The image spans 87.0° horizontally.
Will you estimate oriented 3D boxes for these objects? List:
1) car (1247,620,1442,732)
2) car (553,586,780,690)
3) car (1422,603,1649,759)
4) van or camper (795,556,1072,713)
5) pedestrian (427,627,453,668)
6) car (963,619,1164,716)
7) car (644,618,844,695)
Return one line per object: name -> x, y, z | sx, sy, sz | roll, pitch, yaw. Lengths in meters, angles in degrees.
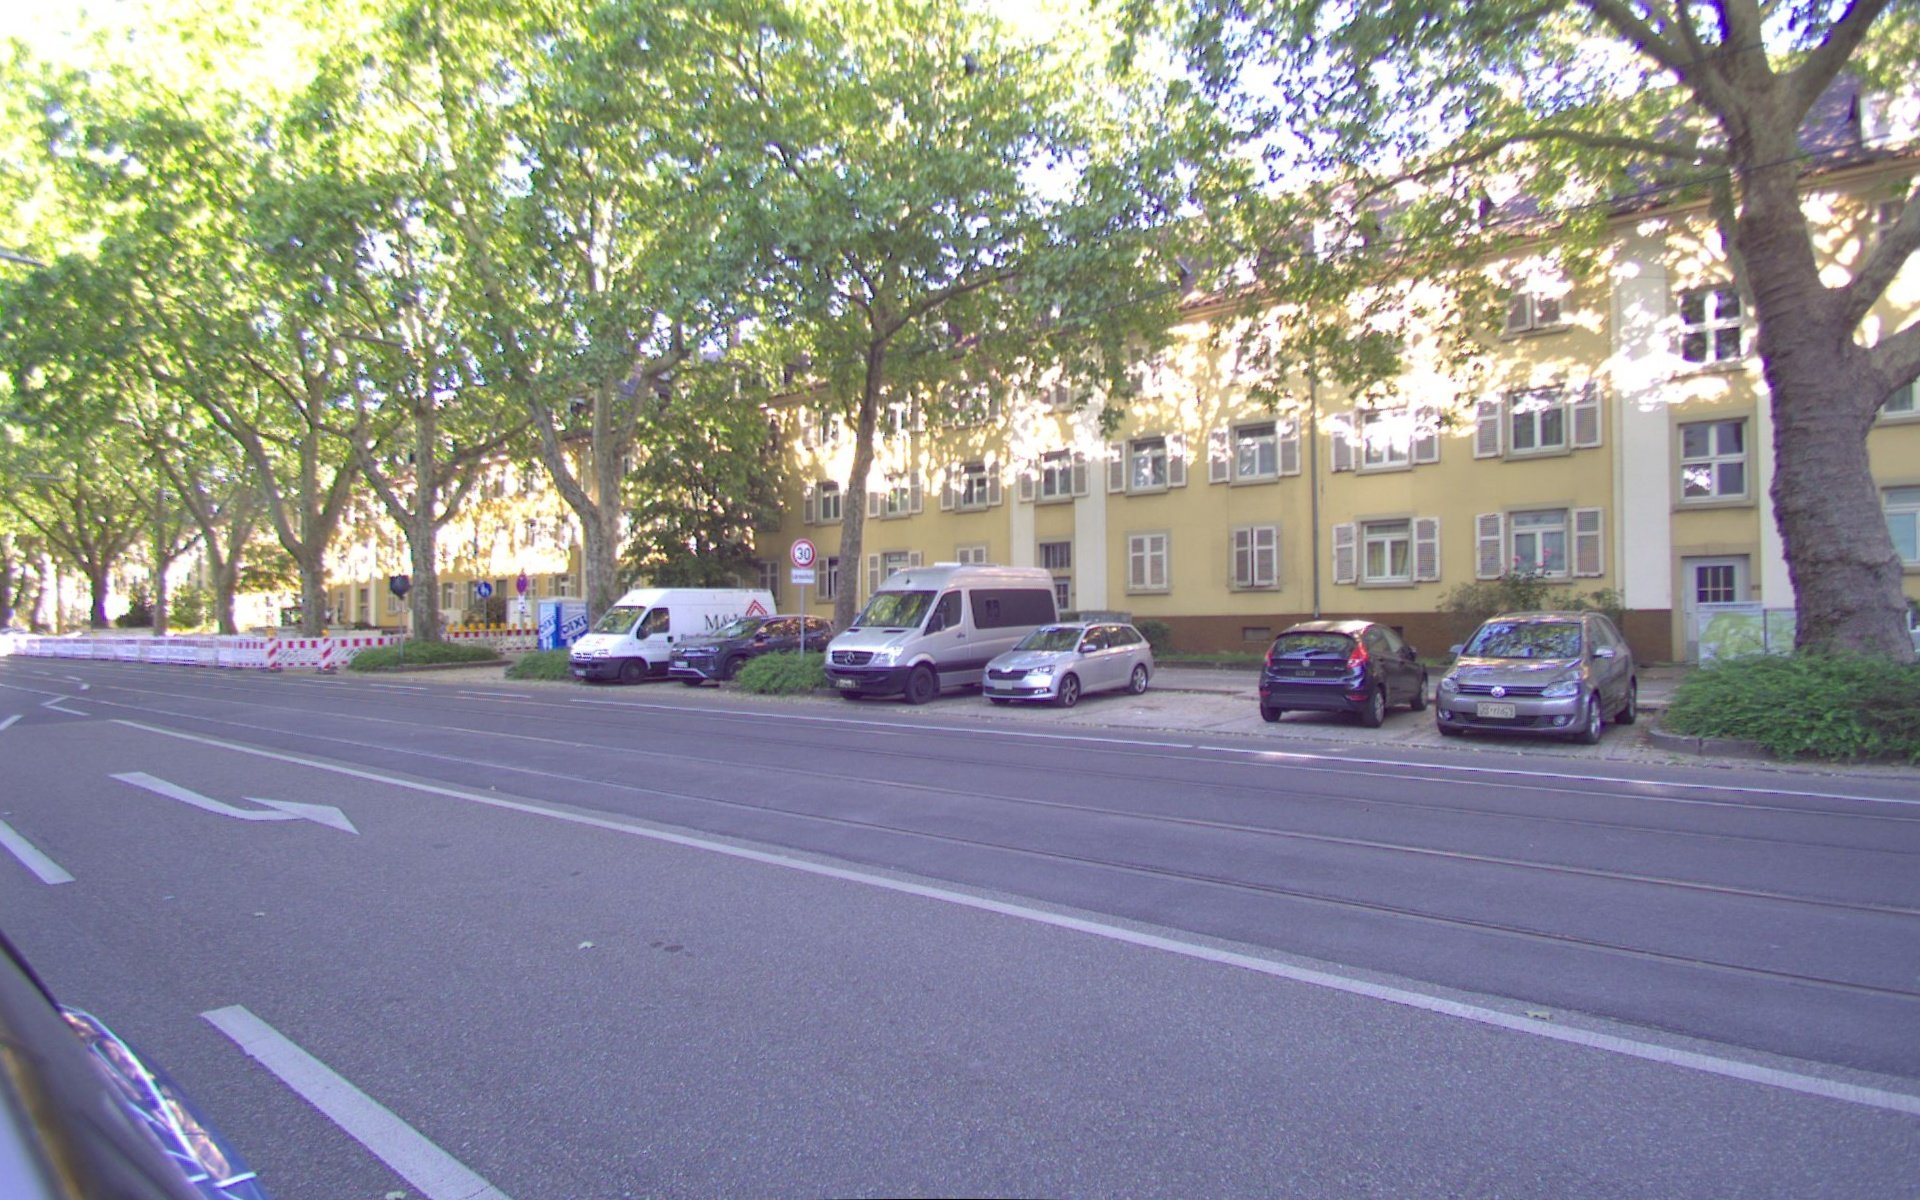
car -> 5.904, 1.047, 15.330 | 1.740, 1.440, 3.528 | -2, -1, 39
car -> -7.447, 0.947, 26.288 | 2.023, 2.394, 5.543 | -2, -2, 38
car -> 7.735, 0.926, 13.416 | 1.814, 1.617, 4.145 | -2, 0, 41
van or camper -> -0.318, 0.611, 20.492 | 2.227, 2.697, 6.052 | -2, -1, 38
pedestrian -> -20.020, 1.819, 38.969 | 0.706, 1.585, 0.598 | 0, -2, -9
car -> 2.034, 1.157, 18.907 | 1.729, 1.481, 4.102 | 0, 1, 40
car -> -5.093, 1.273, 24.369 | 1.967, 1.643, 4.520 | -2, -2, 38
